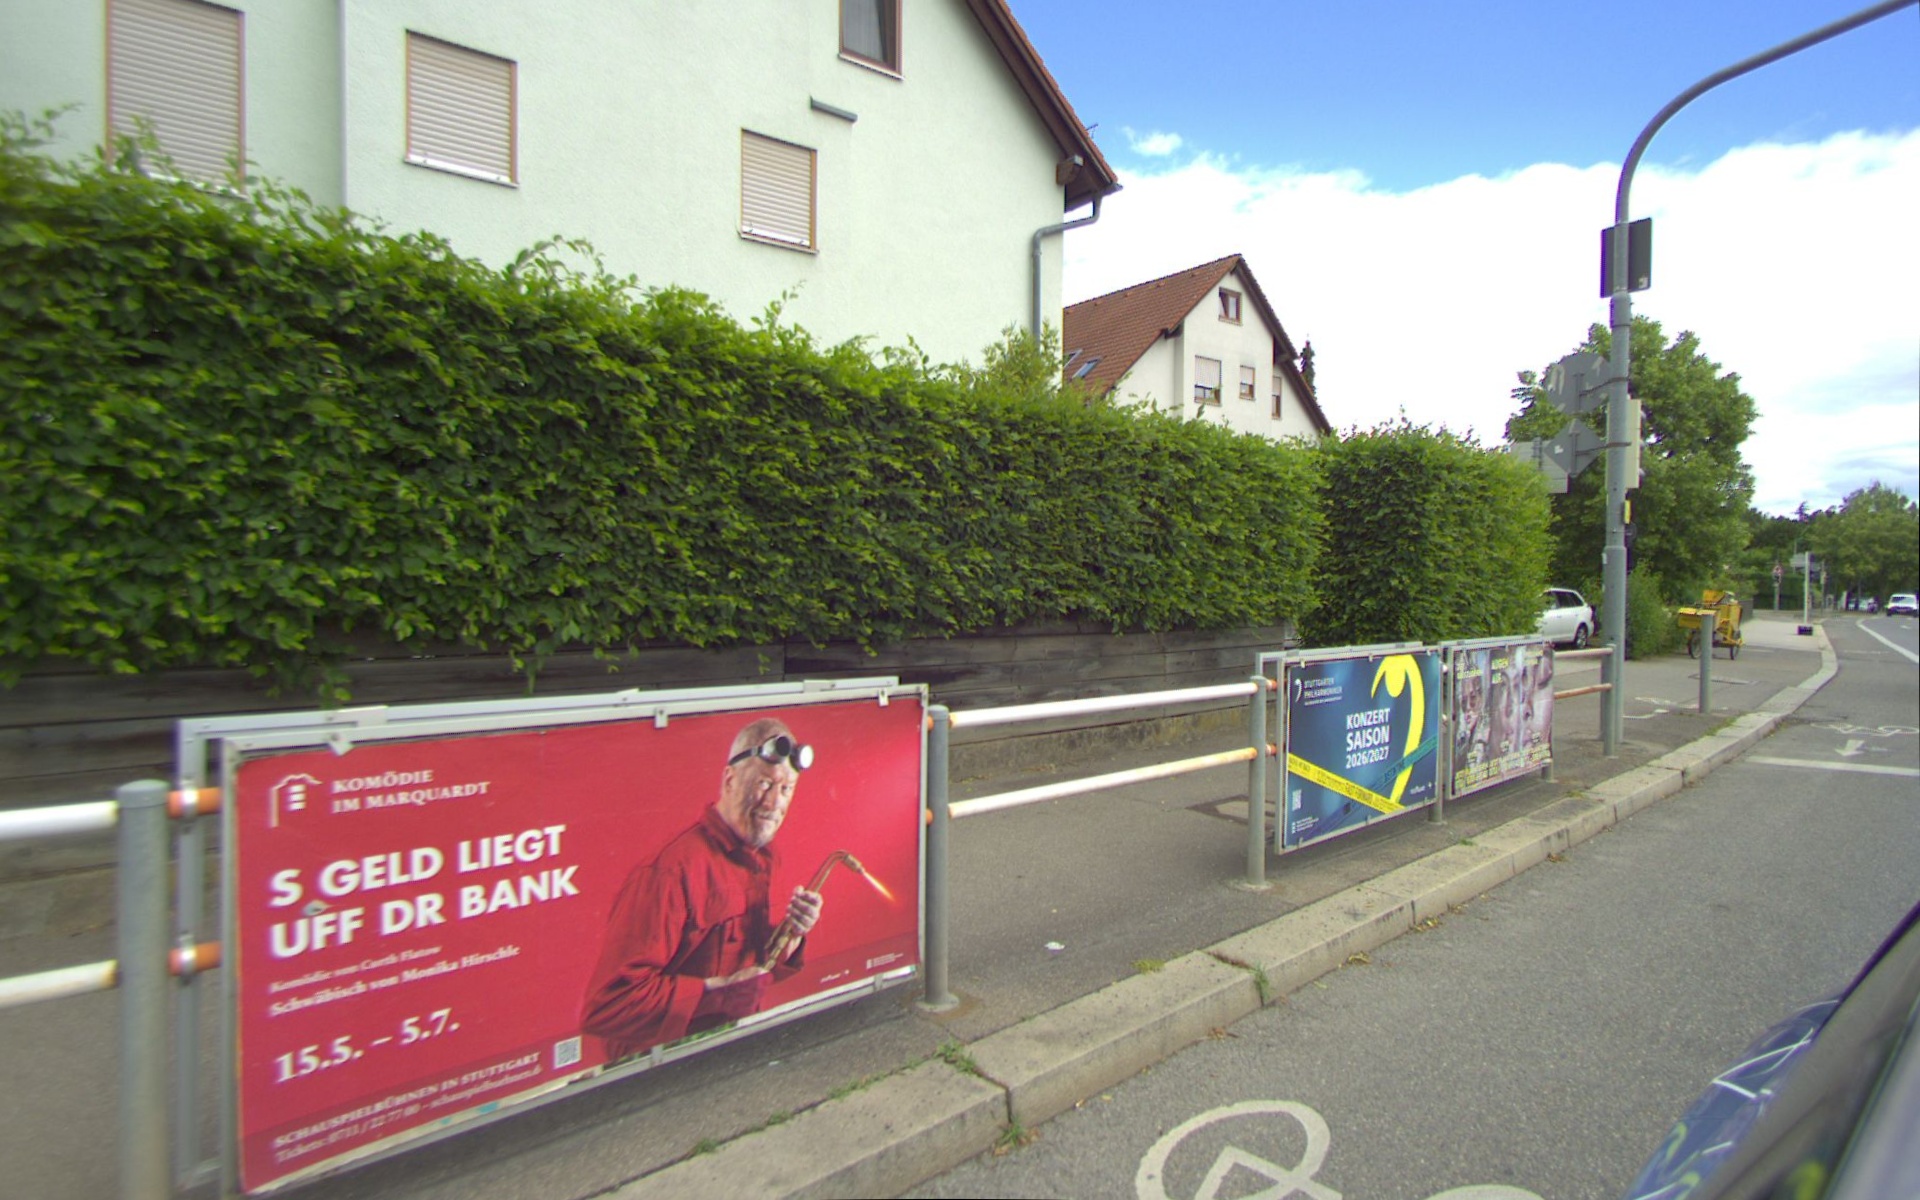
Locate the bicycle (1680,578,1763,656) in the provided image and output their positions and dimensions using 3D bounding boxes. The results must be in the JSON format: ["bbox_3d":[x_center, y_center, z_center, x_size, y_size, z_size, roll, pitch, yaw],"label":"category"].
[{"bbox_3d":[16.612,0.343,22.051,2.736,1.528,0.893,0,5,-44],"label":"bicycle"}]

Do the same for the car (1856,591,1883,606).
[{"bbox_3d":[84.908,-0.146,94.465,3.481,1.367,1.560,0,3,-44],"label":"car"}]

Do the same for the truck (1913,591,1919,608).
[{"bbox_3d":[93.305,-0.018,97.538,3.929,1.679,1.618,0,2,-40],"label":"truck"}]

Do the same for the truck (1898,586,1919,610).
[{"bbox_3d":[75.321,-0.130,79.663,3.928,1.812,1.615,0,2,-39],"label":"truck"}]

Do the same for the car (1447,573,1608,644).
[{"bbox_3d":[13.100,0.208,23.307,3.982,1.523,1.676,2,0,-35],"label":"car"}]
